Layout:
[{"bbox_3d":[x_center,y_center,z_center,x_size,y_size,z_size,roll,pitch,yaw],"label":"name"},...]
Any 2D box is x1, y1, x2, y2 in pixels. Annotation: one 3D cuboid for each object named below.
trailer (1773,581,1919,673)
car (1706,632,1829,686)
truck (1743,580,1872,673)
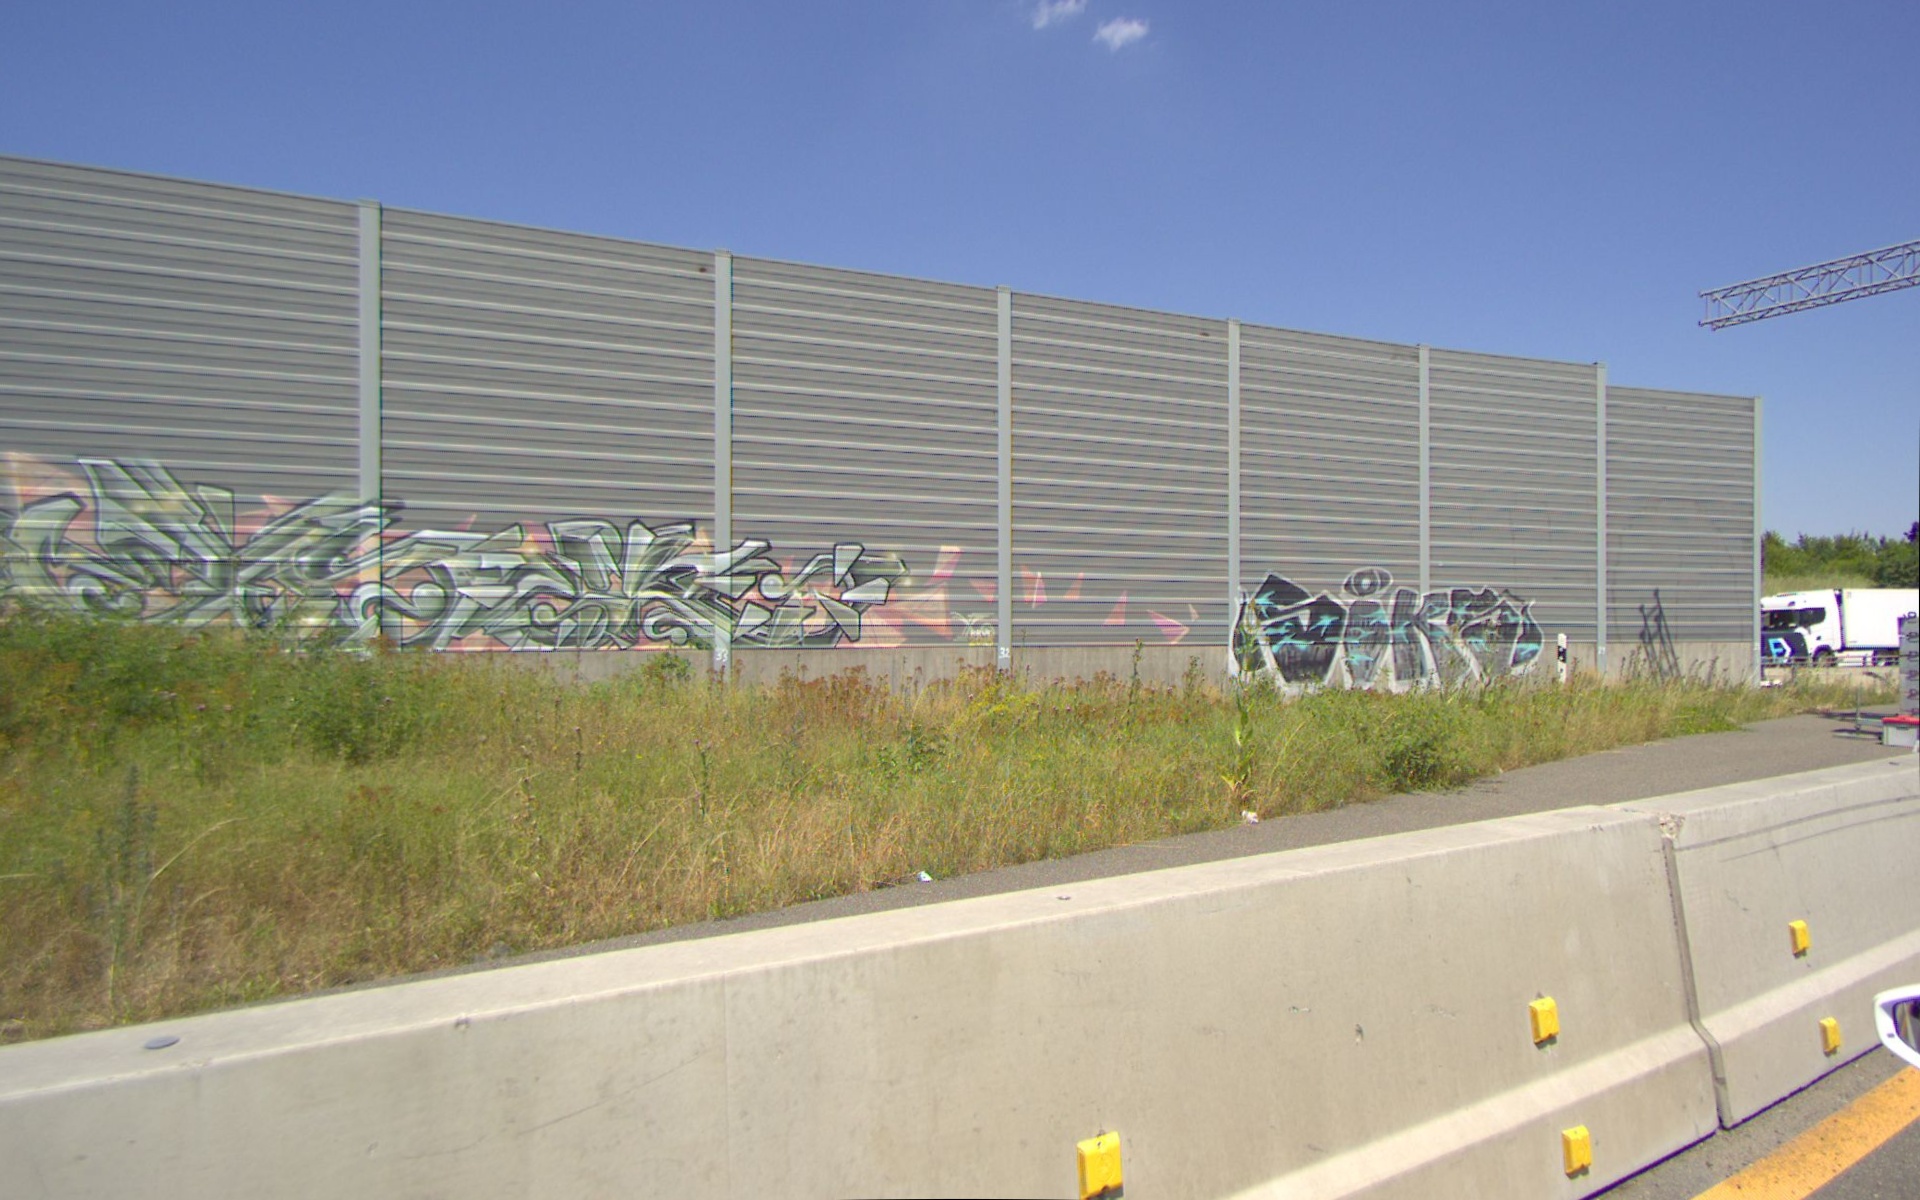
[{"bbox_3d":[49.826,1.424,52.682,14.671,4.560,2.666,1,0,-13],"label":"trailer"},{"bbox_3d":[33.731,2.466,42.016,3.932,2.040,1.994,2,0,-14],"label":"car"},{"bbox_3d":[43.099,1.321,51.137,4.759,4.560,2.666,1,0,-13],"label":"truck"}]
